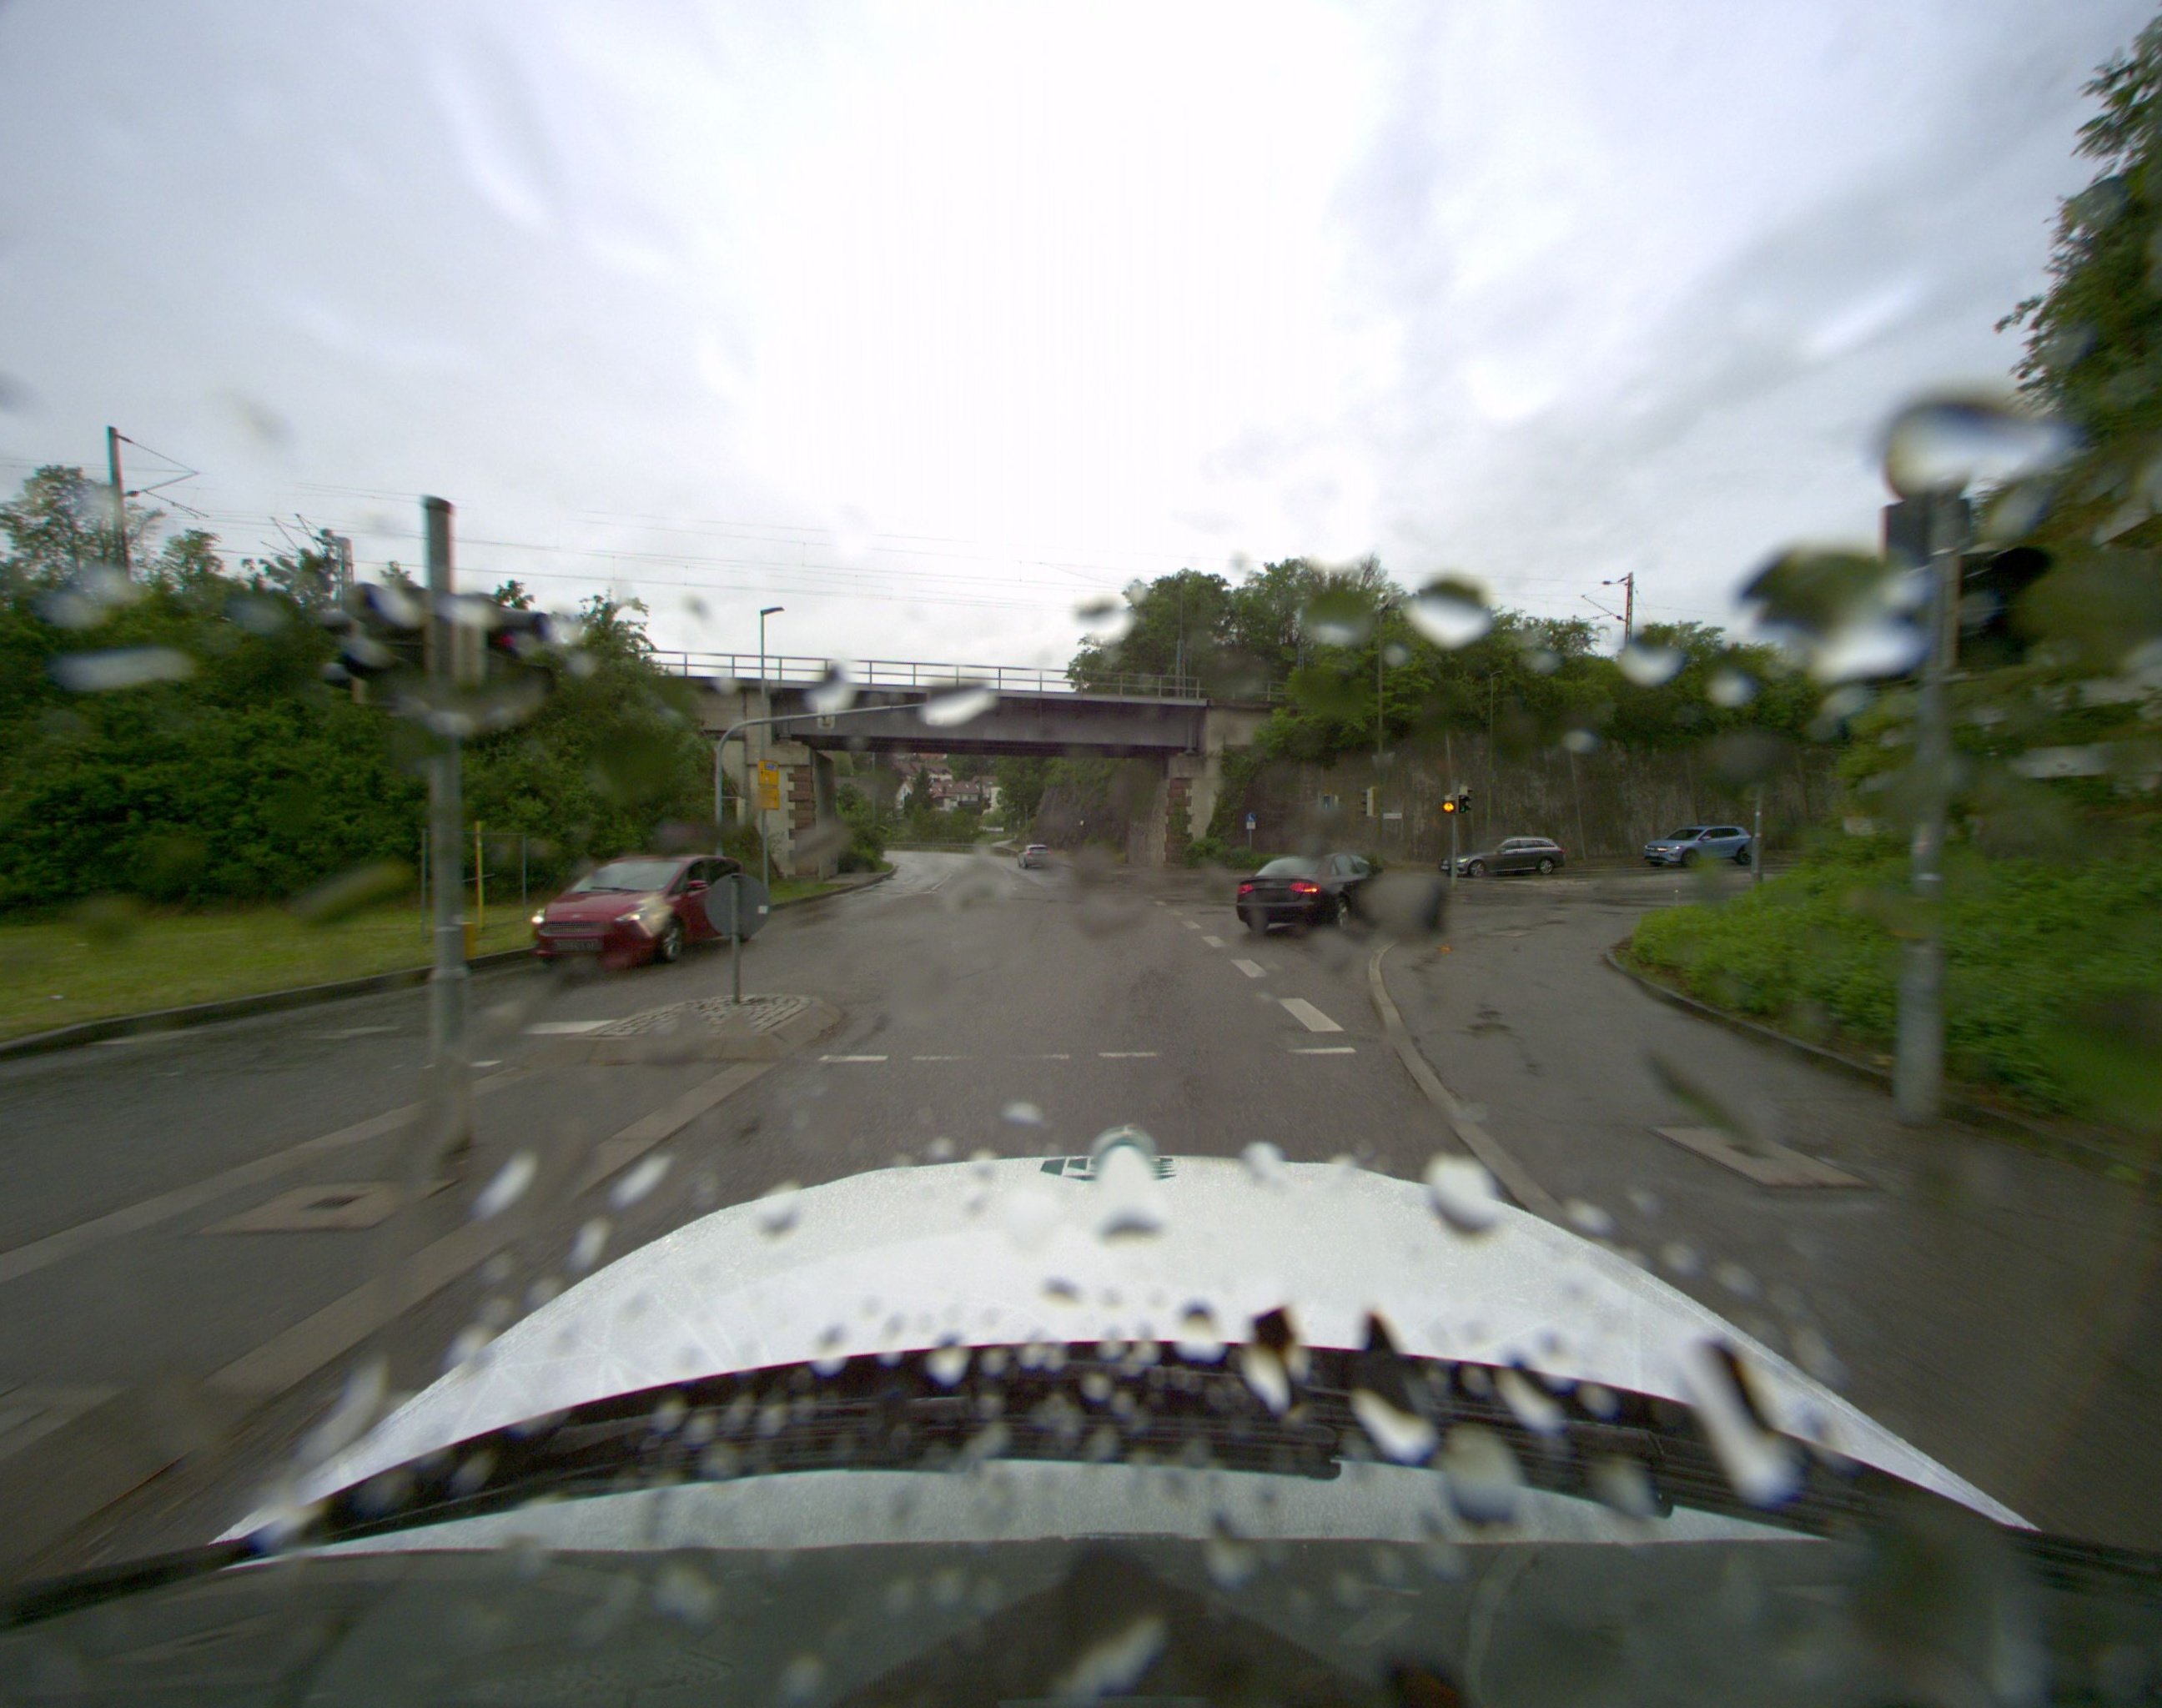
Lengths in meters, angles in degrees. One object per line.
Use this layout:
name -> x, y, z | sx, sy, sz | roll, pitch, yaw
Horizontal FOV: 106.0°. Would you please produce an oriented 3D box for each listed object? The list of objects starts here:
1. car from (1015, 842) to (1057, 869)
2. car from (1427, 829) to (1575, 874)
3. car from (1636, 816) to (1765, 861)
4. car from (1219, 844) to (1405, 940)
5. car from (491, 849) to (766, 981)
car -> -2.906, 0.107, 51.943 | 1.995, 1.562, 3.983 | -2, 0, -12
car -> 15.926, -0.088, 30.998 | 4.709, 1.503, 1.995 | -2, 0, -7
car -> 24.789, -0.603, 32.644 | 4.035, 1.657, 1.816 | -2, 0, -8
car -> 4.452, 0.603, 15.240 | 1.874, 1.492, 4.234 | -2, 0, 38
car -> -7.032, 0.821, 13.376 | 1.891, 1.714, 4.681 | -2, 0, -1
